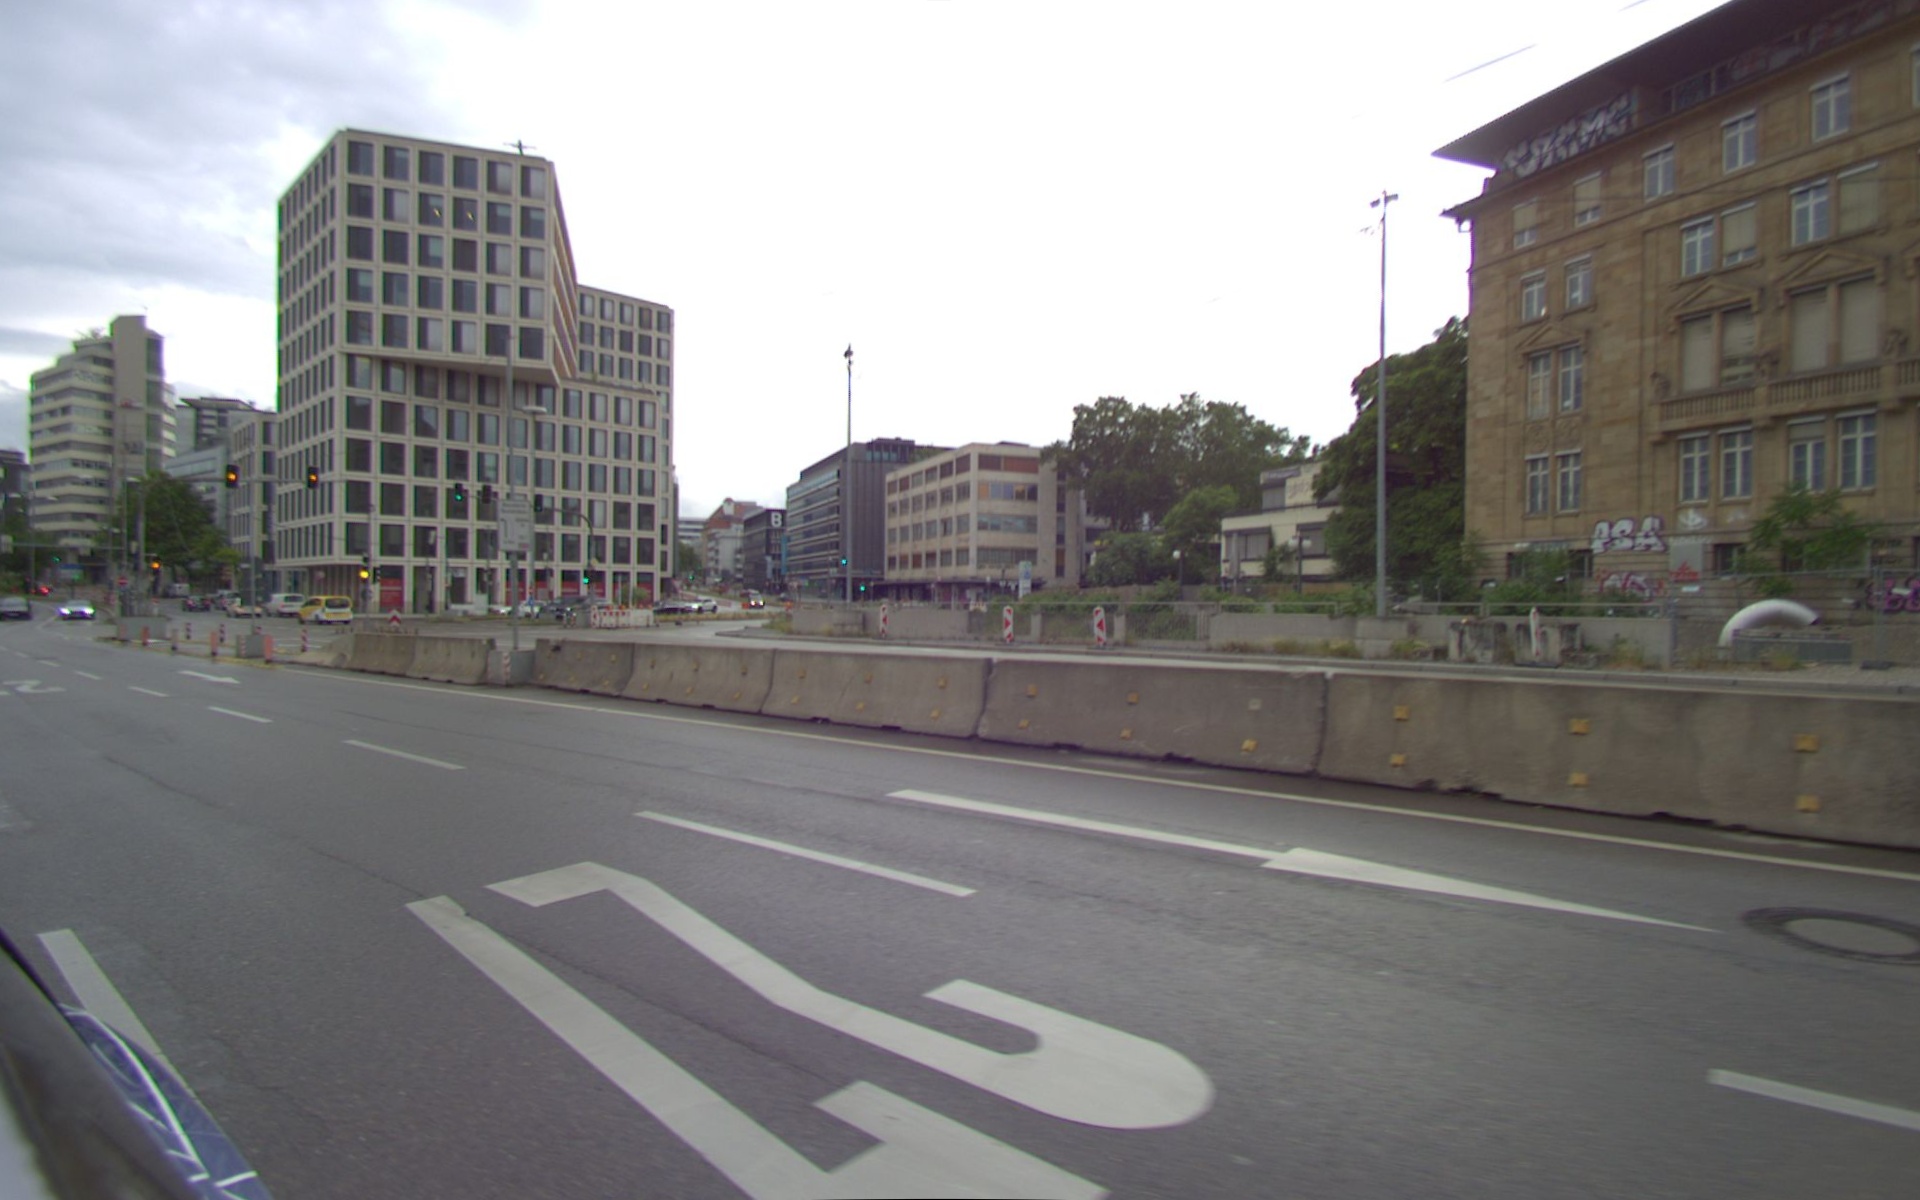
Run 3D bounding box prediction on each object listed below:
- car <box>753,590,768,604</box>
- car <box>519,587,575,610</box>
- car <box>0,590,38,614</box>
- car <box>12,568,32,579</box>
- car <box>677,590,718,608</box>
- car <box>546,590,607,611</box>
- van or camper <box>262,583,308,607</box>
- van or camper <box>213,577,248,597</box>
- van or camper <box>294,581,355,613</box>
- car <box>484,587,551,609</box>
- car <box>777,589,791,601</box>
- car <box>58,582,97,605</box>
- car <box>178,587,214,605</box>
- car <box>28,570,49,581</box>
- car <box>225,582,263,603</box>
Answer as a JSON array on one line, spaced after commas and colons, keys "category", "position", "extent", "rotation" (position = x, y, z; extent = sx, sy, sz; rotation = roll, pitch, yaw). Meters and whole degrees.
[{"category": "car", "position": [-24.413, -0.341, 123.777], "extent": [1.827, 1.729, 4.141], "rotation": [0, 0, -12]}, {"category": "car", "position": [-34.381, -0.184, 84.396], "extent": [1.806, 1.829, 3.944], "rotation": [1, 2, 43]}, {"category": "car", "position": [-67.117, 0.128, 72.087], "extent": [1.988, 1.610, 4.667], "rotation": [-1, 1, -44]}, {"category": "car", "position": [-143.567, -4.008, 154.911], "extent": [4.178, 1.610, 1.826], "rotation": [1, 1, 41]}, {"category": "car", "position": [-25.872, -0.094, 99.784], "extent": [1.845, 1.729, 4.099], "rotation": [0, 0, 23]}, {"category": "car", "position": [-28.618, -0.016, 75.649], "extent": [1.831, 1.497, 3.955], "rotation": [1, 1, 33]}, {"category": "van or camper", "position": [-56.968, -0.443, 85.354], "extent": [5.210, 1.908, 1.862], "rotation": [1, 1, 41]}, {"category": "van or camper", "position": [-72.898, -1.294, 101.112], "extent": [4.253, 1.993, 1.826], "rotation": [1, 1, 41]}, {"category": "van or camper", "position": [-42.965, -0.253, 68.354], "extent": [5.609, 2.070, 2.214], "rotation": [1, 1, 44]}, {"category": "car", "position": [-37.642, -0.182, 86.132], "extent": [2.228, 1.766, 4.747], "rotation": [1, 1, 40]}, {"category": "car", "position": [-29.488, -0.883, 169.710], "extent": [1.966, 2.029, 4.011], "rotation": [0, 0, -14]}, {"category": "car", "position": [-64.771, -0.511, 74.332], "extent": [1.986, 1.610, 4.672], "rotation": [-1, 1, -39]}, {"category": "car", "position": [-72.854, -0.414, 96.486], "extent": [4.178, 1.610, 1.826], "rotation": [1, 1, 41]}, {"category": "car", "position": [-136.690, -3.672, 150.146], "extent": [4.178, 1.610, 1.826], "rotation": [1, 1, 41]}, {"category": "car", "position": [-59.014, -0.608, 83.360], "extent": [4.382, 1.686, 1.821], "rotation": [1, 1, 44]}]
